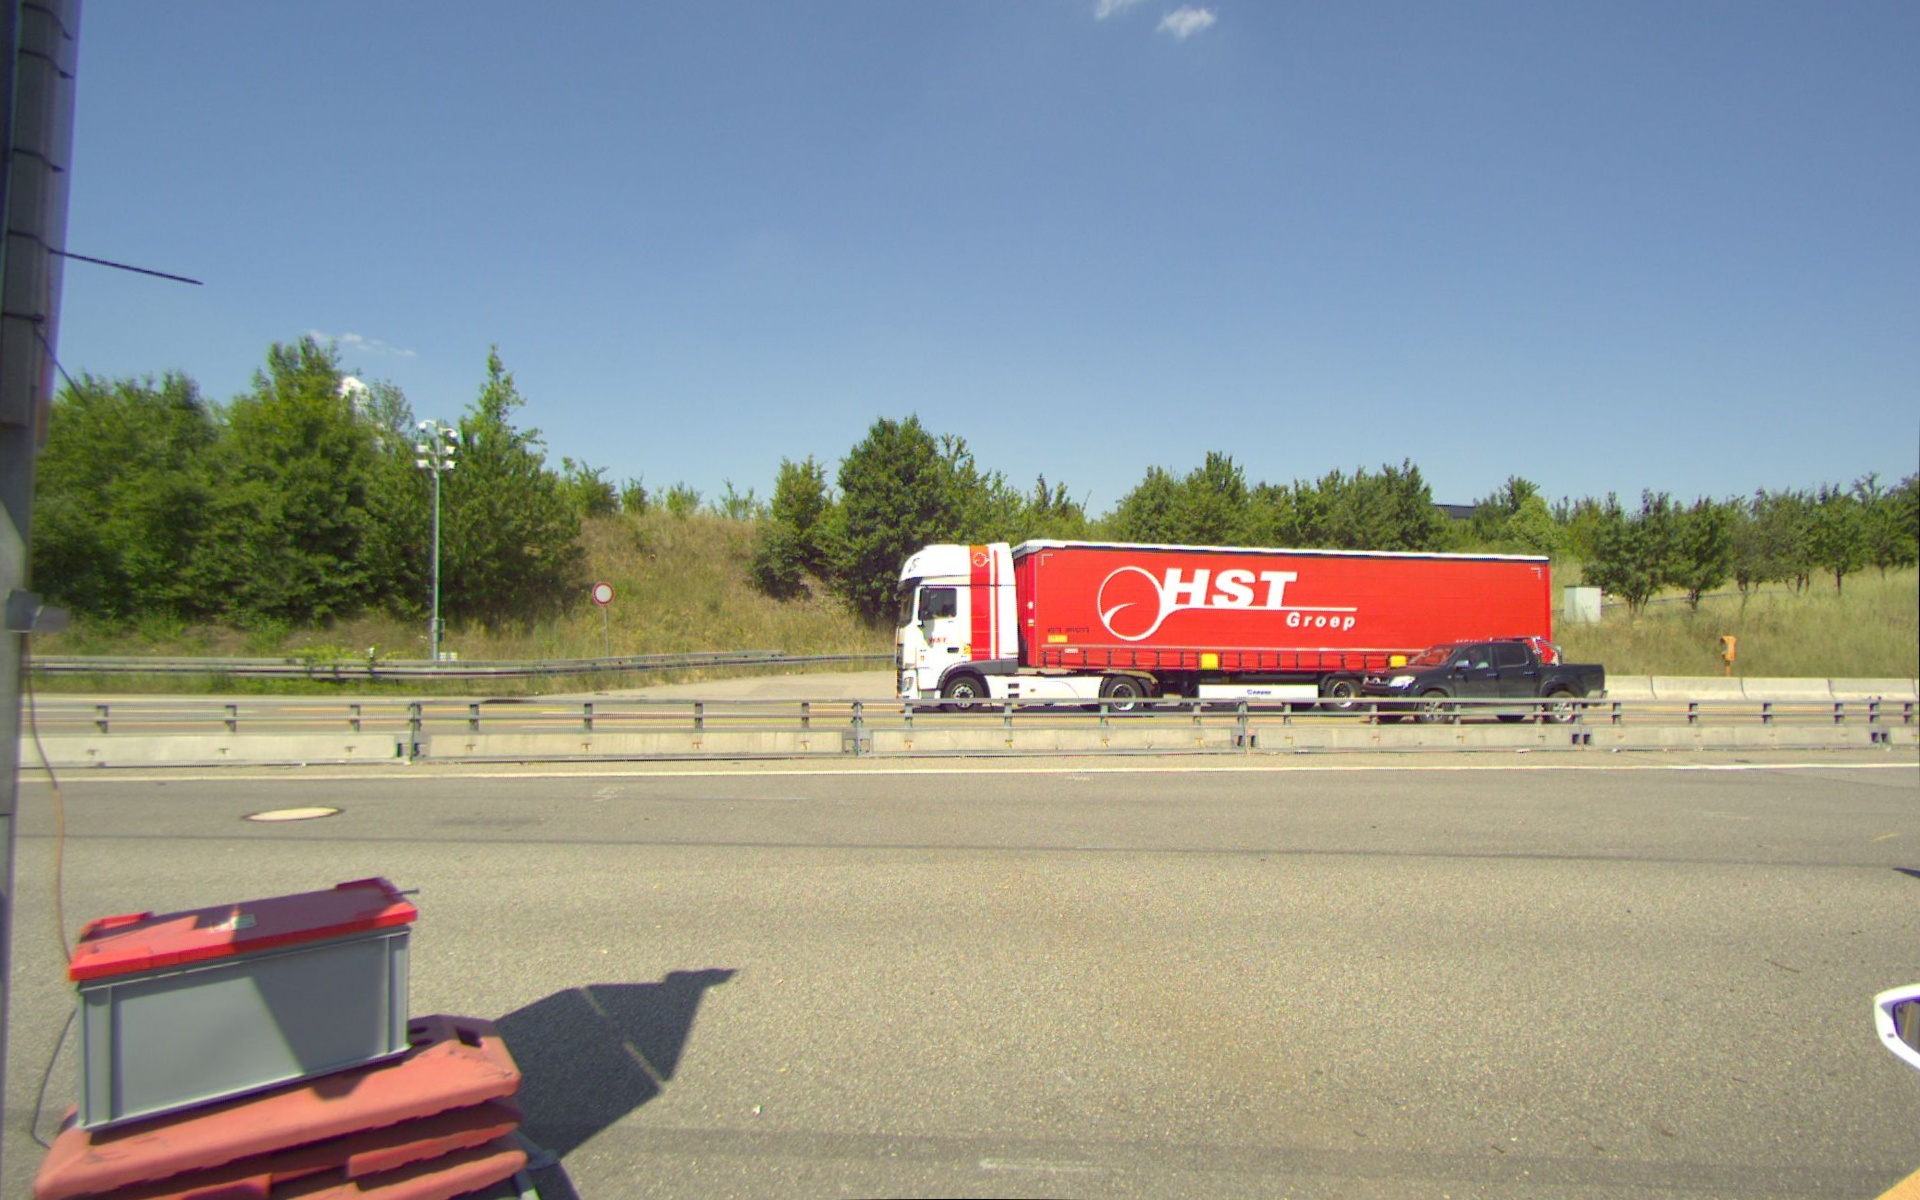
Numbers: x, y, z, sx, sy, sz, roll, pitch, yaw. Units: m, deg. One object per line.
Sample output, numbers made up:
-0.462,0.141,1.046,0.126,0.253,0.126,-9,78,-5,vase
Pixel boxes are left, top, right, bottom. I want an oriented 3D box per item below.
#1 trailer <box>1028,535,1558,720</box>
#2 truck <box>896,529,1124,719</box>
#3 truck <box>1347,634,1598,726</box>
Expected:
8.328,0.791,25.080,13.023,4.156,2.341,1,-1,-10,trailer
1.117,0.612,23.726,4.928,4.162,2.337,1,-1,-11,truck
11.220,1.699,22.124,4.675,1.898,1.997,0,-1,-10,truck
